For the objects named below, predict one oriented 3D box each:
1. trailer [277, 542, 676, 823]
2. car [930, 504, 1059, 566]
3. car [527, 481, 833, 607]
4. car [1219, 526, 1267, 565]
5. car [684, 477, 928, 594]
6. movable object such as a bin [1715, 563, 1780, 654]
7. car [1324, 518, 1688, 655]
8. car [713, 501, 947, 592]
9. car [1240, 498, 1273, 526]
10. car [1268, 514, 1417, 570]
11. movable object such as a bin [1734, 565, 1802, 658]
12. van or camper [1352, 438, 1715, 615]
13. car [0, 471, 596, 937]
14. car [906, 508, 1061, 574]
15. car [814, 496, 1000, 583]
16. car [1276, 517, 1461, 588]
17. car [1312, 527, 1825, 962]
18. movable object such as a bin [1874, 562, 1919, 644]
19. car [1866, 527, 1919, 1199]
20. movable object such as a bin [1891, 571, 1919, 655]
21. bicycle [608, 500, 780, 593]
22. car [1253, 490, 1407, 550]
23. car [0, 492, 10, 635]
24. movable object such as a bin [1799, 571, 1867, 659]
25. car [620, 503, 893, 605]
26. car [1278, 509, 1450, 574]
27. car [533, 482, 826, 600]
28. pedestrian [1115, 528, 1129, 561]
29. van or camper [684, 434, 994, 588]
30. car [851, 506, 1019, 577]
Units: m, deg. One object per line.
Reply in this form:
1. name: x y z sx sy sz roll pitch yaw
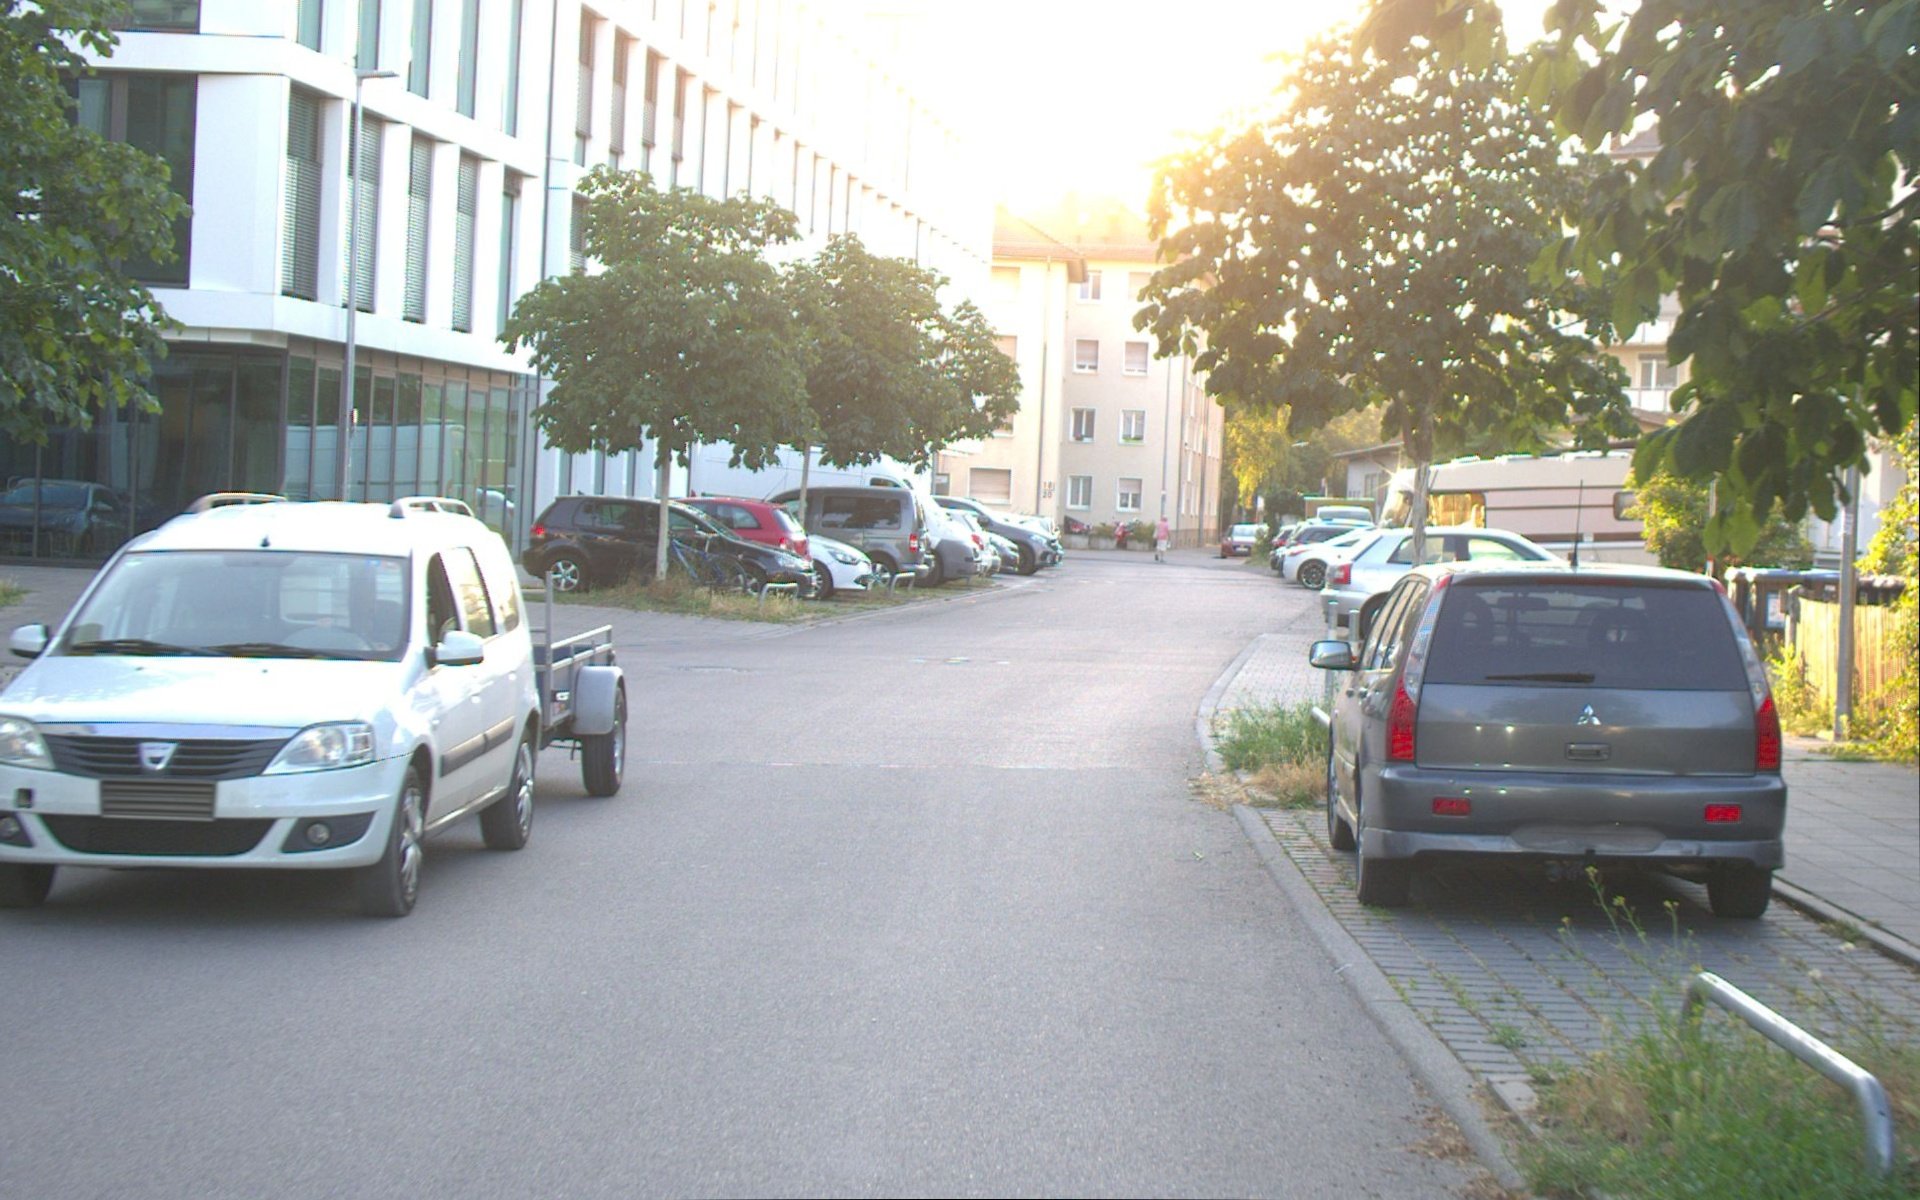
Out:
1. trailer: -2.674 0.402 19.714 1.705 1.344 3.487 2 2 1
2. car: 0.852 -1.611 84.797 3.016 1.416 1.457 1 3 7
3. car: -3.974 -0.815 49.095 4.050 1.474 1.767 4 3 4
4. car: 12.218 -2.353 148.383 1.950 1.579 3.640 2 2 5
5. car: -2.633 -1.133 59.378 4.050 1.901 1.736 1 3 3
6. movable object such as a bin: 9.160 0.093 39.998 0.578 1.007 0.689 2 2 2
7. car: 6.427 -0.175 40.805 4.050 1.474 1.768 1 3 2
8. car: -2.310 -0.976 61.873 4.050 1.519 1.736 1 3 3
9. car: 16.535 -4.920 191.965 1.742 1.520 3.551 2 2 5
10. car: 10.807 -1.652 97.308 4.050 1.474 1.768 1 3 2
11. movable object such as a bin: 9.214 0.131 39.214 0.578 1.007 0.689 2 2 2
12. van or camper: 9.421 -1.252 56.922 5.610 2.780 2.430 1 3 3
13. car: -2.936 0.344 14.988 1.952 1.680 4.722 1 1 3
14. car: 0.569 -1.432 82.465 3.560 1.474 1.457 1 3 7
15. car: -1.060 -1.235 69.204 3.560 1.646 1.457 1 3 7
16. car: 9.175 -1.083 77.224 4.051 1.474 1.767 1 3 7
17. car: 2.534 0.496 15.315 1.724 1.574 4.598 2 2 4
18. movable object such as a bin: 11.534 0.037 41.911 0.578 0.955 0.689 2 2 2
19. car: 2.291 0.715 3.307 1.693 1.504 4.193 2 1 0
20. movable object such as a bin: 11.503 0.160 41.000 0.578 0.955 0.689 2 2 2
21. bicycle: -3.629 -0.733 46.997 2.179 1.170 0.811 3 2 6
22. car: 10.849 -2.355 100.943 4.342 1.638 1.816 1 3 2
23. car: -7.105 0.072 18.051 3.635 1.571 1.661 5 2 5
24. movable object such as a bin: 10.026 0.172 39.483 0.578 0.955 0.689 2 2 2
25. car: -3.203 -0.744 54.444 4.051 1.474 1.767 1 3 7
26. car: 9.949 -1.451 84.889 4.050 1.474 1.768 1 3 2
27. car: -4.216 -0.895 51.996 4.051 1.474 1.767 4 2 7
28. pedestrian: 6.868 -2.361 145.654 0.501 1.374 0.454 2 2 4
29. van or camper: -2.242 -1.689 64.364 5.454 2.475 1.775 4 3 7
30. car: -0.552 -1.317 76.606 3.560 1.474 1.457 1 3 7
